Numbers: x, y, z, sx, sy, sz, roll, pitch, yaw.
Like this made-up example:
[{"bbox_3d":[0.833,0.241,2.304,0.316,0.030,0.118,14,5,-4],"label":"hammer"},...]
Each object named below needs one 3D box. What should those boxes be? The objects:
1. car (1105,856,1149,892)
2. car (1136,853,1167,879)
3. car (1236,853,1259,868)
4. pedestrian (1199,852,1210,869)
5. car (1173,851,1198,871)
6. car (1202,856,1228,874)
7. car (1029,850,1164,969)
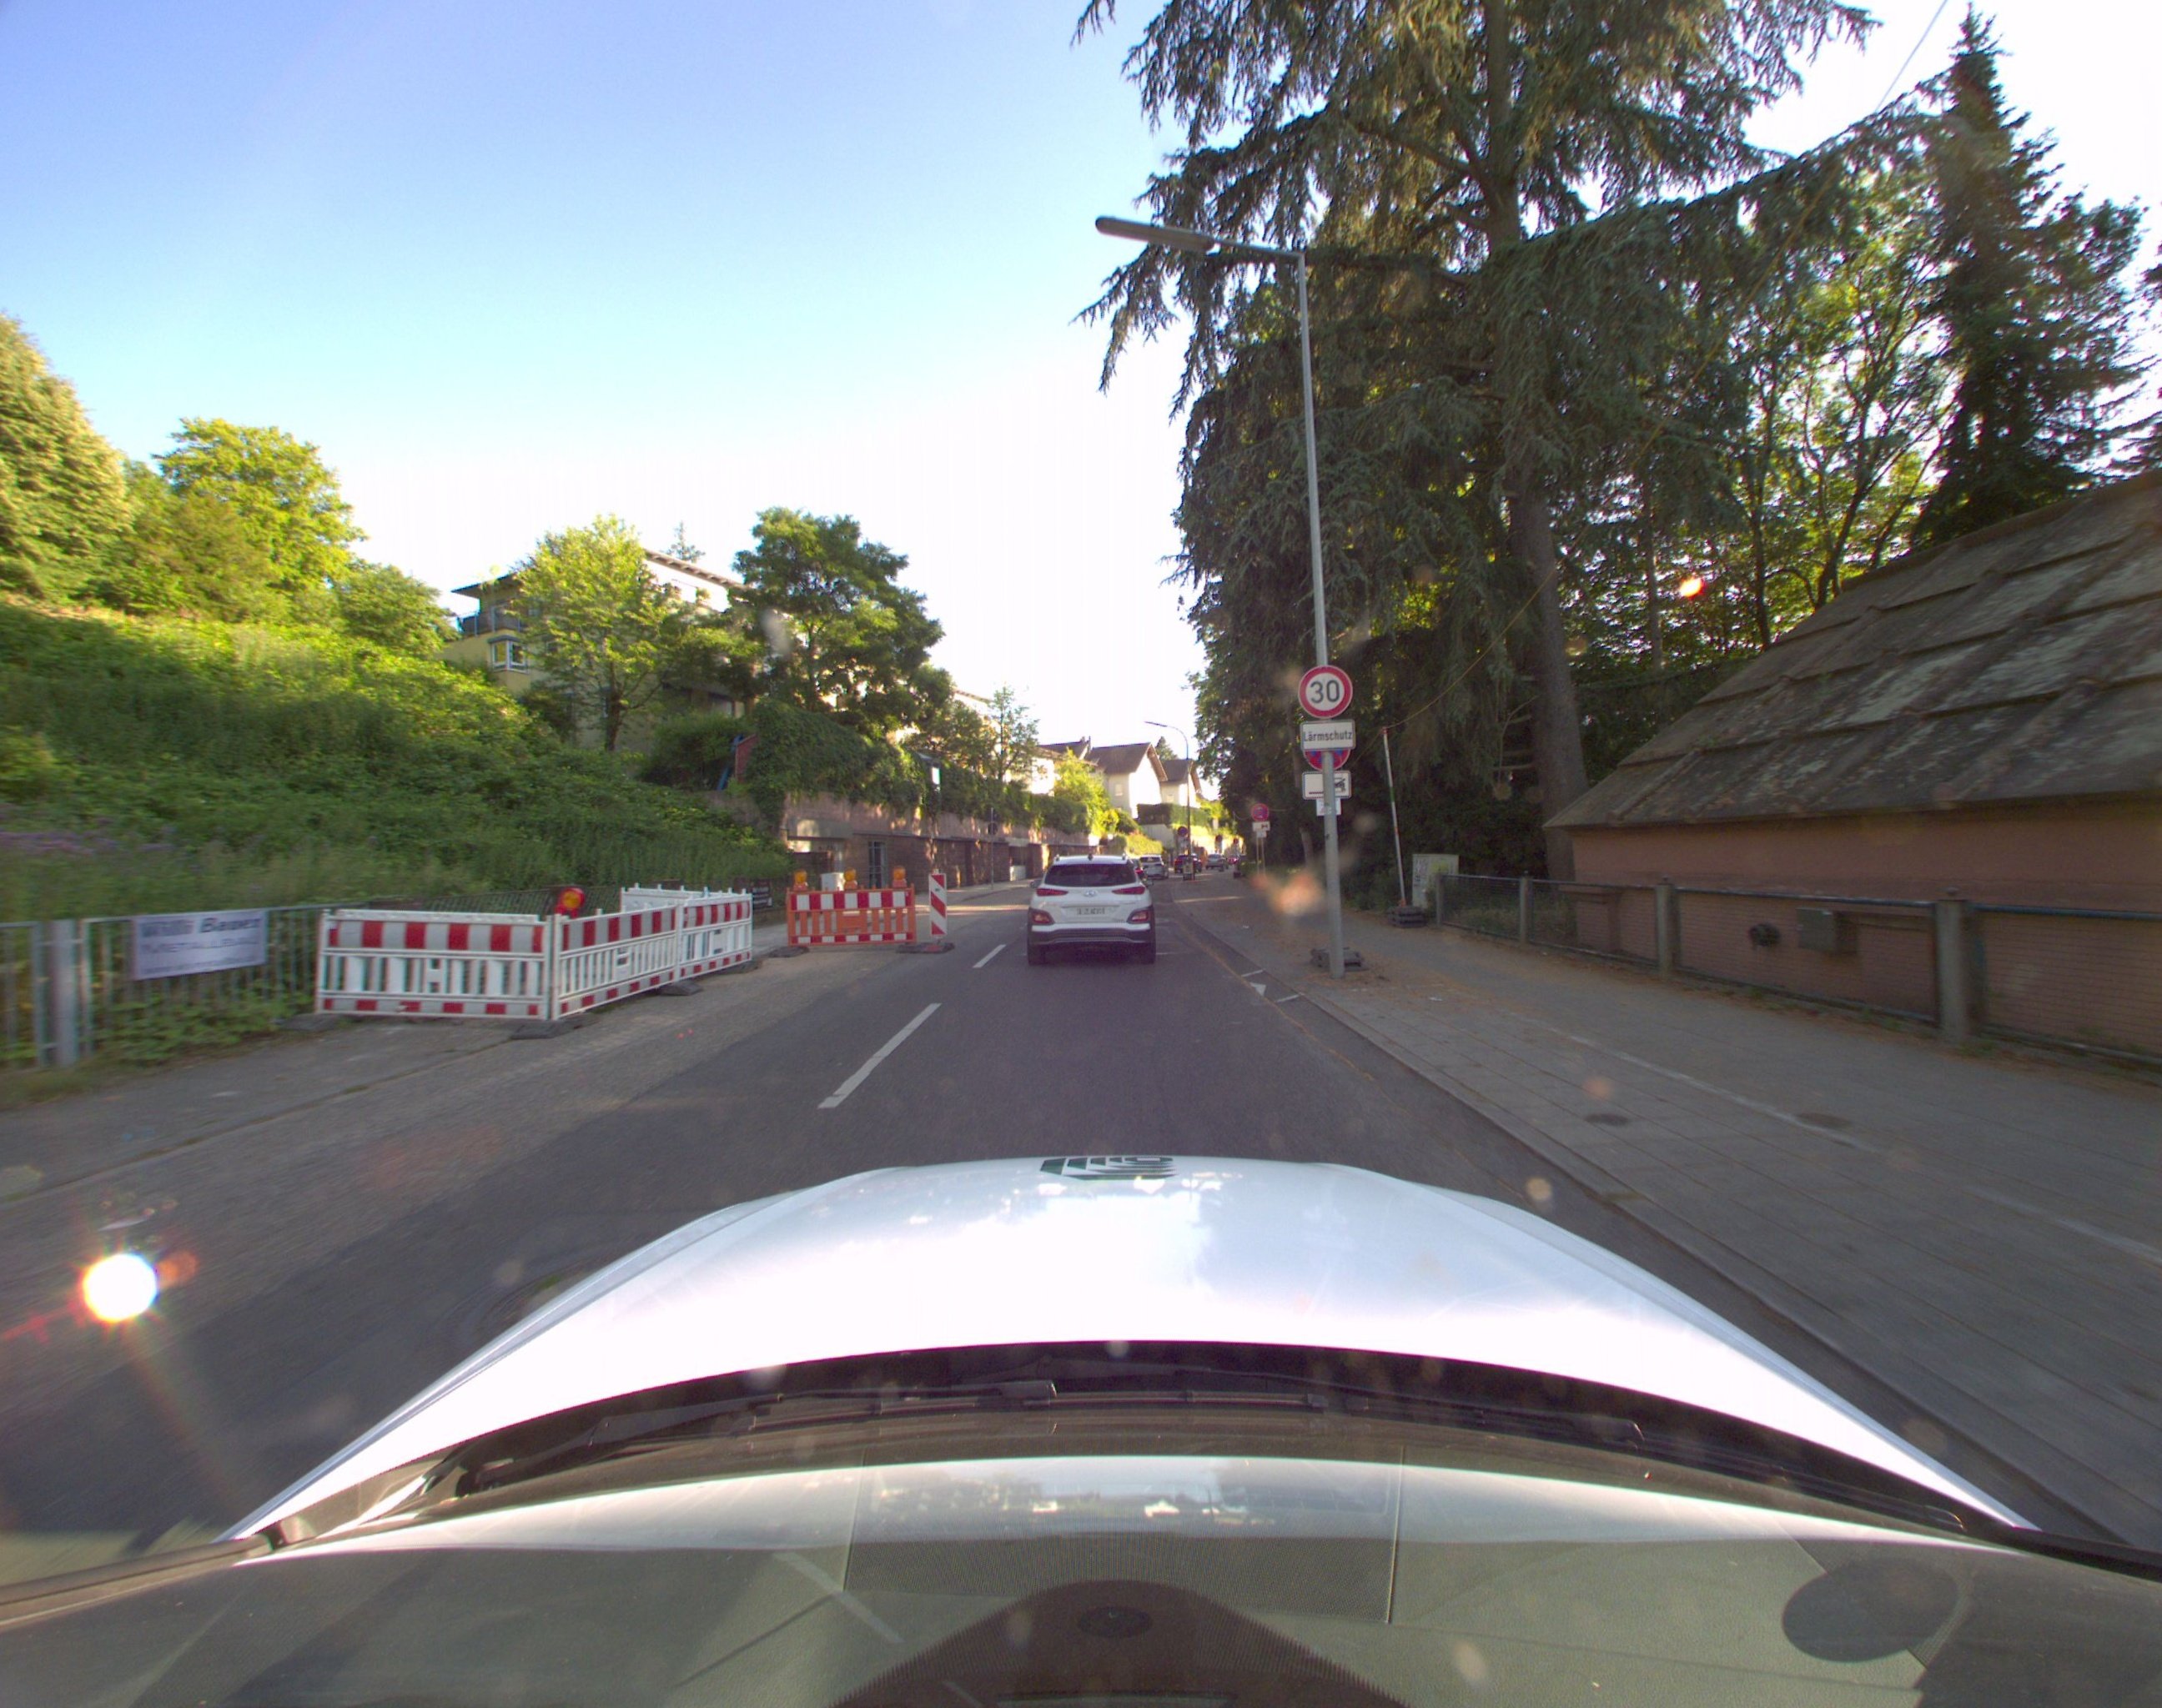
[{"bbox_3d":[1.924,0.815,35.142,1.702,1.434,4.365,0,0,0],"label":"car"},{"bbox_3d":[4.436,0.714,50.762,1.796,1.537,4.008,0,0,7],"label":"car"},{"bbox_3d":[19.972,0.768,97.704,1.815,1.662,4.022,0,0,24],"label":"car"},{"bbox_3d":[13.598,0.745,89.942,1.071,1.912,0.844,-1,-1,17],"label":"pedestrian"},{"bbox_3d":[8.745,0.575,67.697,1.820,1.662,4.012,0,0,11],"label":"car"},{"bbox_3d":[13.420,1.088,81.667,1.816,1.740,4.020,2,0,20],"label":"car"},{"bbox_3d":[0.090,0.742,12.921,1.816,1.574,3.995,0,0,-4],"label":"car"}]
